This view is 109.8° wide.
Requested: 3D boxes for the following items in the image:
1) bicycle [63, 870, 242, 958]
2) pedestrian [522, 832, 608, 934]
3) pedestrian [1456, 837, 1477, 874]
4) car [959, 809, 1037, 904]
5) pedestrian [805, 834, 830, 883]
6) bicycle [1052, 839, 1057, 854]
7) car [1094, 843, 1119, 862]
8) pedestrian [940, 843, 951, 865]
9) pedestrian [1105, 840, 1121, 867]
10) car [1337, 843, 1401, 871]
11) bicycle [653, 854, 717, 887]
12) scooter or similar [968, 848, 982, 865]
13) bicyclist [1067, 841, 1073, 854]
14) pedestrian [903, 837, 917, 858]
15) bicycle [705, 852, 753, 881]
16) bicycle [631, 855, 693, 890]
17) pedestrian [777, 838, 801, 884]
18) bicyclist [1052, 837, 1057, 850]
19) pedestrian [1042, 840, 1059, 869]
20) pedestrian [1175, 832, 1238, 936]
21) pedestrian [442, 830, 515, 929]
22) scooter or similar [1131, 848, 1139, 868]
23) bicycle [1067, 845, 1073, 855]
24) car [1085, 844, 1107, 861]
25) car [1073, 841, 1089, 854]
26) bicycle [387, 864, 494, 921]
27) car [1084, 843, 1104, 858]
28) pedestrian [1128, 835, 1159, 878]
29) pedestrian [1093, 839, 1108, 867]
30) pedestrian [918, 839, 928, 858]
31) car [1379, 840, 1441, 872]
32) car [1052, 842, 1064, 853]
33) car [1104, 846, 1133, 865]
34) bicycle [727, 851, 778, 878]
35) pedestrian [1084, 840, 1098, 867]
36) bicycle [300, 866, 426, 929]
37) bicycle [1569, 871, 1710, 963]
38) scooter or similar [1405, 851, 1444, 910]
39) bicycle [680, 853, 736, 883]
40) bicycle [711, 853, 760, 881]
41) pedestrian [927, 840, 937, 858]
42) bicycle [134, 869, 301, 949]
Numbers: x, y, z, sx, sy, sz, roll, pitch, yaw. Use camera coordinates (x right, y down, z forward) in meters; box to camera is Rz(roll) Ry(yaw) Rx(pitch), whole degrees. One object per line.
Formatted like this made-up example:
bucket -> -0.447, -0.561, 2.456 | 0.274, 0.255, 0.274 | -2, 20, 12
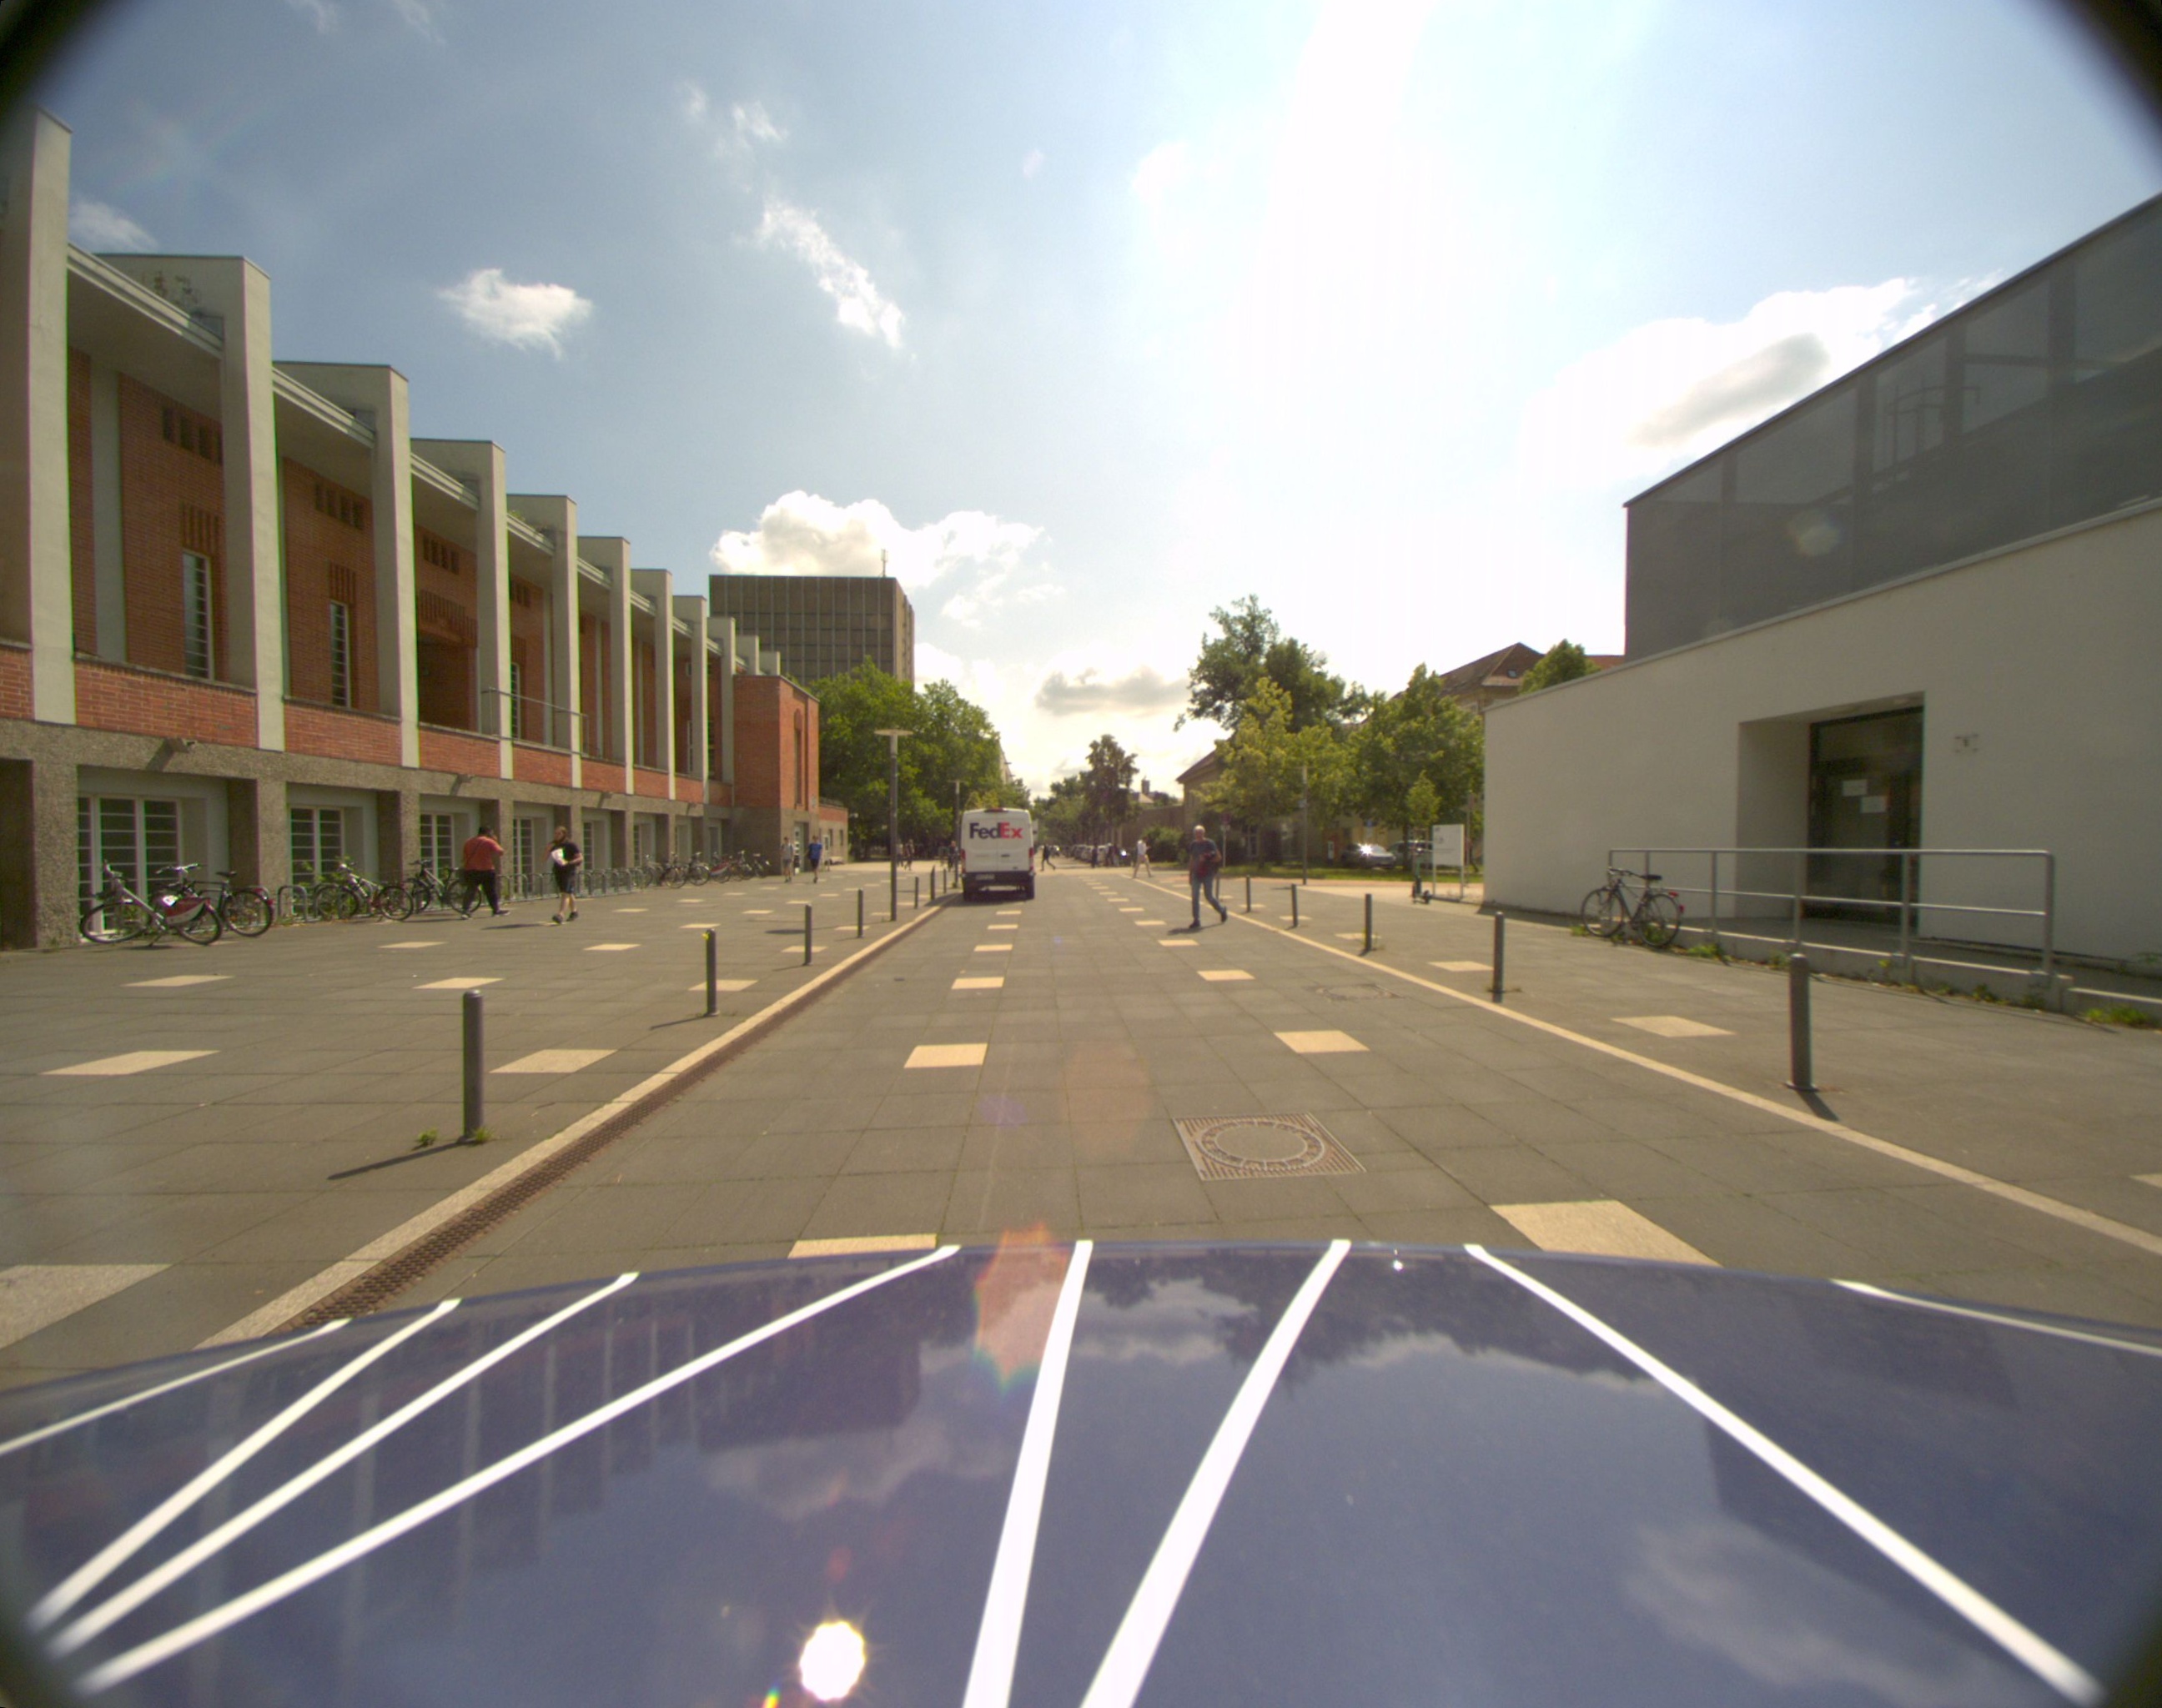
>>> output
bicycle -> -12.777, 0.813, 10.488 | 1.758, 1.143, 0.435 | 0, 2, -5
pedestrian -> -9.601, 0.506, 14.190 | 0.847, 1.824, 1.196 | -1, 2, -8
pedestrian -> 19.046, 0.048, 37.516 | 0.870, 1.778, 0.637 | 1, 6, 26
car -> -2.456, 0.005, 23.200 | 2.065, 2.529, 5.845 | 0, 1, -5
pedestrian -> -10.222, 0.153, 29.552 | 0.666, 1.880, 1.109 | 0, 2, -6
bicycle -> -3.088, -0.873, 88.465 | 0.588, 1.671, 1.757 | 0, 1, -5
car -> 1.955, -0.165, 59.116 | 1.635, 1.423, 3.631 | -1, 1, -3
pedestrian -> -10.110, -0.012, 56.886 | 0.785, 1.666, 1.078 | 0, 2, -8
pedestrian -> 2.036, -0.016, 48.757 | 0.559, 1.707, 0.970 | -1, 2, -31
car -> 17.733, 0.141, 46.984 | 1.899, 1.572, 4.646 | 0, 2, -4
bicycle -> -13.661, 0.559, 26.204 | 1.917, 1.104, 0.435 | 0, 2, -5
scooter or similar -> -7.384, 0.161, 52.956 | 0.575, 1.173, 1.479 | 0, 1, 10
bicyclist -> -1.315, -0.775, 88.871 | 0.630, 1.597, 1.328 | 0, 1, -5
pedestrian -> -16.019, -0.583, 71.048 | 0.984, 1.935, 0.976 | -3, 3, -25
bicycle -> -13.726, 0.487, 29.644 | 1.655, 1.104, 0.435 | 0, 2, -5
bicycle -> -13.517, 0.599, 24.536 | 1.687, 1.104, 0.435 | 0, 2, -5
pedestrian -> -11.213, 0.257, 29.232 | 0.586, 1.697, 1.001 | 0, 2, -5
bicyclist -> -3.091, -1.241, 88.474 | 0.588, 1.444, 1.232 | 0, 1, -5
pedestrian -> -1.867, 0.021, 46.291 | 0.870, 1.777, 0.570 | 1, 1, 28
pedestrian -> 2.276, 0.508, 13.859 | 0.826, 1.807, 1.143 | -1, 2, -8
pedestrian -> -11.543, 0.465, 14.580 | 0.665, 1.824, 0.905 | -1, 2, -5
scooter or similar -> 3.477, 0.256, 48.809 | 0.470, 1.209, 1.204 | 0, 1, 2
bicycle -> -1.306, -0.491, 88.741 | 0.626, 1.135, 1.811 | 0, 1, -5
car -> 1.280, -0.169, 64.738 | 1.648, 1.369, 3.998 | -1, 1, -2
car -> -0.064, -0.849, 100.104 | 1.933, 1.624, 4.370 | -1, 1, -2
bicycle -> -12.923, 0.775, 15.354 | 1.687, 1.104, 0.435 | 0, 2, -5
car -> 1.238, -0.337, 72.747 | 1.718, 1.424, 3.998 | -1, 1, -2
pedestrian -> 2.731, 0.093, 33.084 | 1.022, 1.838, 0.918 | 2, 2, 27
pedestrian -> 1.252, -0.074, 48.598 | 0.727, 1.777, 0.899 | -1, 2, -16
pedestrian -> -14.789, -0.511, 71.259 | 0.783, 1.781, 0.713 | 0, 1, -24
car -> 20.281, 0.078, 47.010 | 1.812, 1.776, 4.121 | 0, 2, -4
car -> -3.598, -0.986, 118.219 | 1.933, 1.624, 4.370 | -1, 1, -2
car -> 2.559, 0.082, 52.531 | 1.701, 1.288, 3.760 | 0, 1, -2
bicycle -> -13.879, 0.444, 32.141 | 1.935, 1.104, 0.456 | 0, 2, -5
pedestrian -> 0.649, -0.051, 48.059 | 0.622, 1.706, 1.004 | 0, 1, -15
bicycle -> -13.053, 0.780, 13.844 | 1.752, 1.104, 0.435 | 0, 2, -5
bicycle -> 7.425, 0.793, 10.230 | 0.544, 1.055, 1.899 | 0, 1, 2
scooter or similar -> 7.798, 0.576, 17.303 | 0.483, 1.256, 1.314 | 0, 1, 9
bicycle -> -13.732, 0.513, 28.015 | 1.802, 1.104, 0.435 | 0, 2, -5
bicycle -> -13.776, 0.502, 30.339 | 1.699, 1.104, 0.435 | 0, 2, -5
pedestrian -> -14.072, -0.487, 71.646 | 0.752, 1.663, 0.844 | 0, 1, -25
bicycle -> -12.929, 0.811, 11.407 | 1.758, 1.143, 0.517 | 0, 1, -5
